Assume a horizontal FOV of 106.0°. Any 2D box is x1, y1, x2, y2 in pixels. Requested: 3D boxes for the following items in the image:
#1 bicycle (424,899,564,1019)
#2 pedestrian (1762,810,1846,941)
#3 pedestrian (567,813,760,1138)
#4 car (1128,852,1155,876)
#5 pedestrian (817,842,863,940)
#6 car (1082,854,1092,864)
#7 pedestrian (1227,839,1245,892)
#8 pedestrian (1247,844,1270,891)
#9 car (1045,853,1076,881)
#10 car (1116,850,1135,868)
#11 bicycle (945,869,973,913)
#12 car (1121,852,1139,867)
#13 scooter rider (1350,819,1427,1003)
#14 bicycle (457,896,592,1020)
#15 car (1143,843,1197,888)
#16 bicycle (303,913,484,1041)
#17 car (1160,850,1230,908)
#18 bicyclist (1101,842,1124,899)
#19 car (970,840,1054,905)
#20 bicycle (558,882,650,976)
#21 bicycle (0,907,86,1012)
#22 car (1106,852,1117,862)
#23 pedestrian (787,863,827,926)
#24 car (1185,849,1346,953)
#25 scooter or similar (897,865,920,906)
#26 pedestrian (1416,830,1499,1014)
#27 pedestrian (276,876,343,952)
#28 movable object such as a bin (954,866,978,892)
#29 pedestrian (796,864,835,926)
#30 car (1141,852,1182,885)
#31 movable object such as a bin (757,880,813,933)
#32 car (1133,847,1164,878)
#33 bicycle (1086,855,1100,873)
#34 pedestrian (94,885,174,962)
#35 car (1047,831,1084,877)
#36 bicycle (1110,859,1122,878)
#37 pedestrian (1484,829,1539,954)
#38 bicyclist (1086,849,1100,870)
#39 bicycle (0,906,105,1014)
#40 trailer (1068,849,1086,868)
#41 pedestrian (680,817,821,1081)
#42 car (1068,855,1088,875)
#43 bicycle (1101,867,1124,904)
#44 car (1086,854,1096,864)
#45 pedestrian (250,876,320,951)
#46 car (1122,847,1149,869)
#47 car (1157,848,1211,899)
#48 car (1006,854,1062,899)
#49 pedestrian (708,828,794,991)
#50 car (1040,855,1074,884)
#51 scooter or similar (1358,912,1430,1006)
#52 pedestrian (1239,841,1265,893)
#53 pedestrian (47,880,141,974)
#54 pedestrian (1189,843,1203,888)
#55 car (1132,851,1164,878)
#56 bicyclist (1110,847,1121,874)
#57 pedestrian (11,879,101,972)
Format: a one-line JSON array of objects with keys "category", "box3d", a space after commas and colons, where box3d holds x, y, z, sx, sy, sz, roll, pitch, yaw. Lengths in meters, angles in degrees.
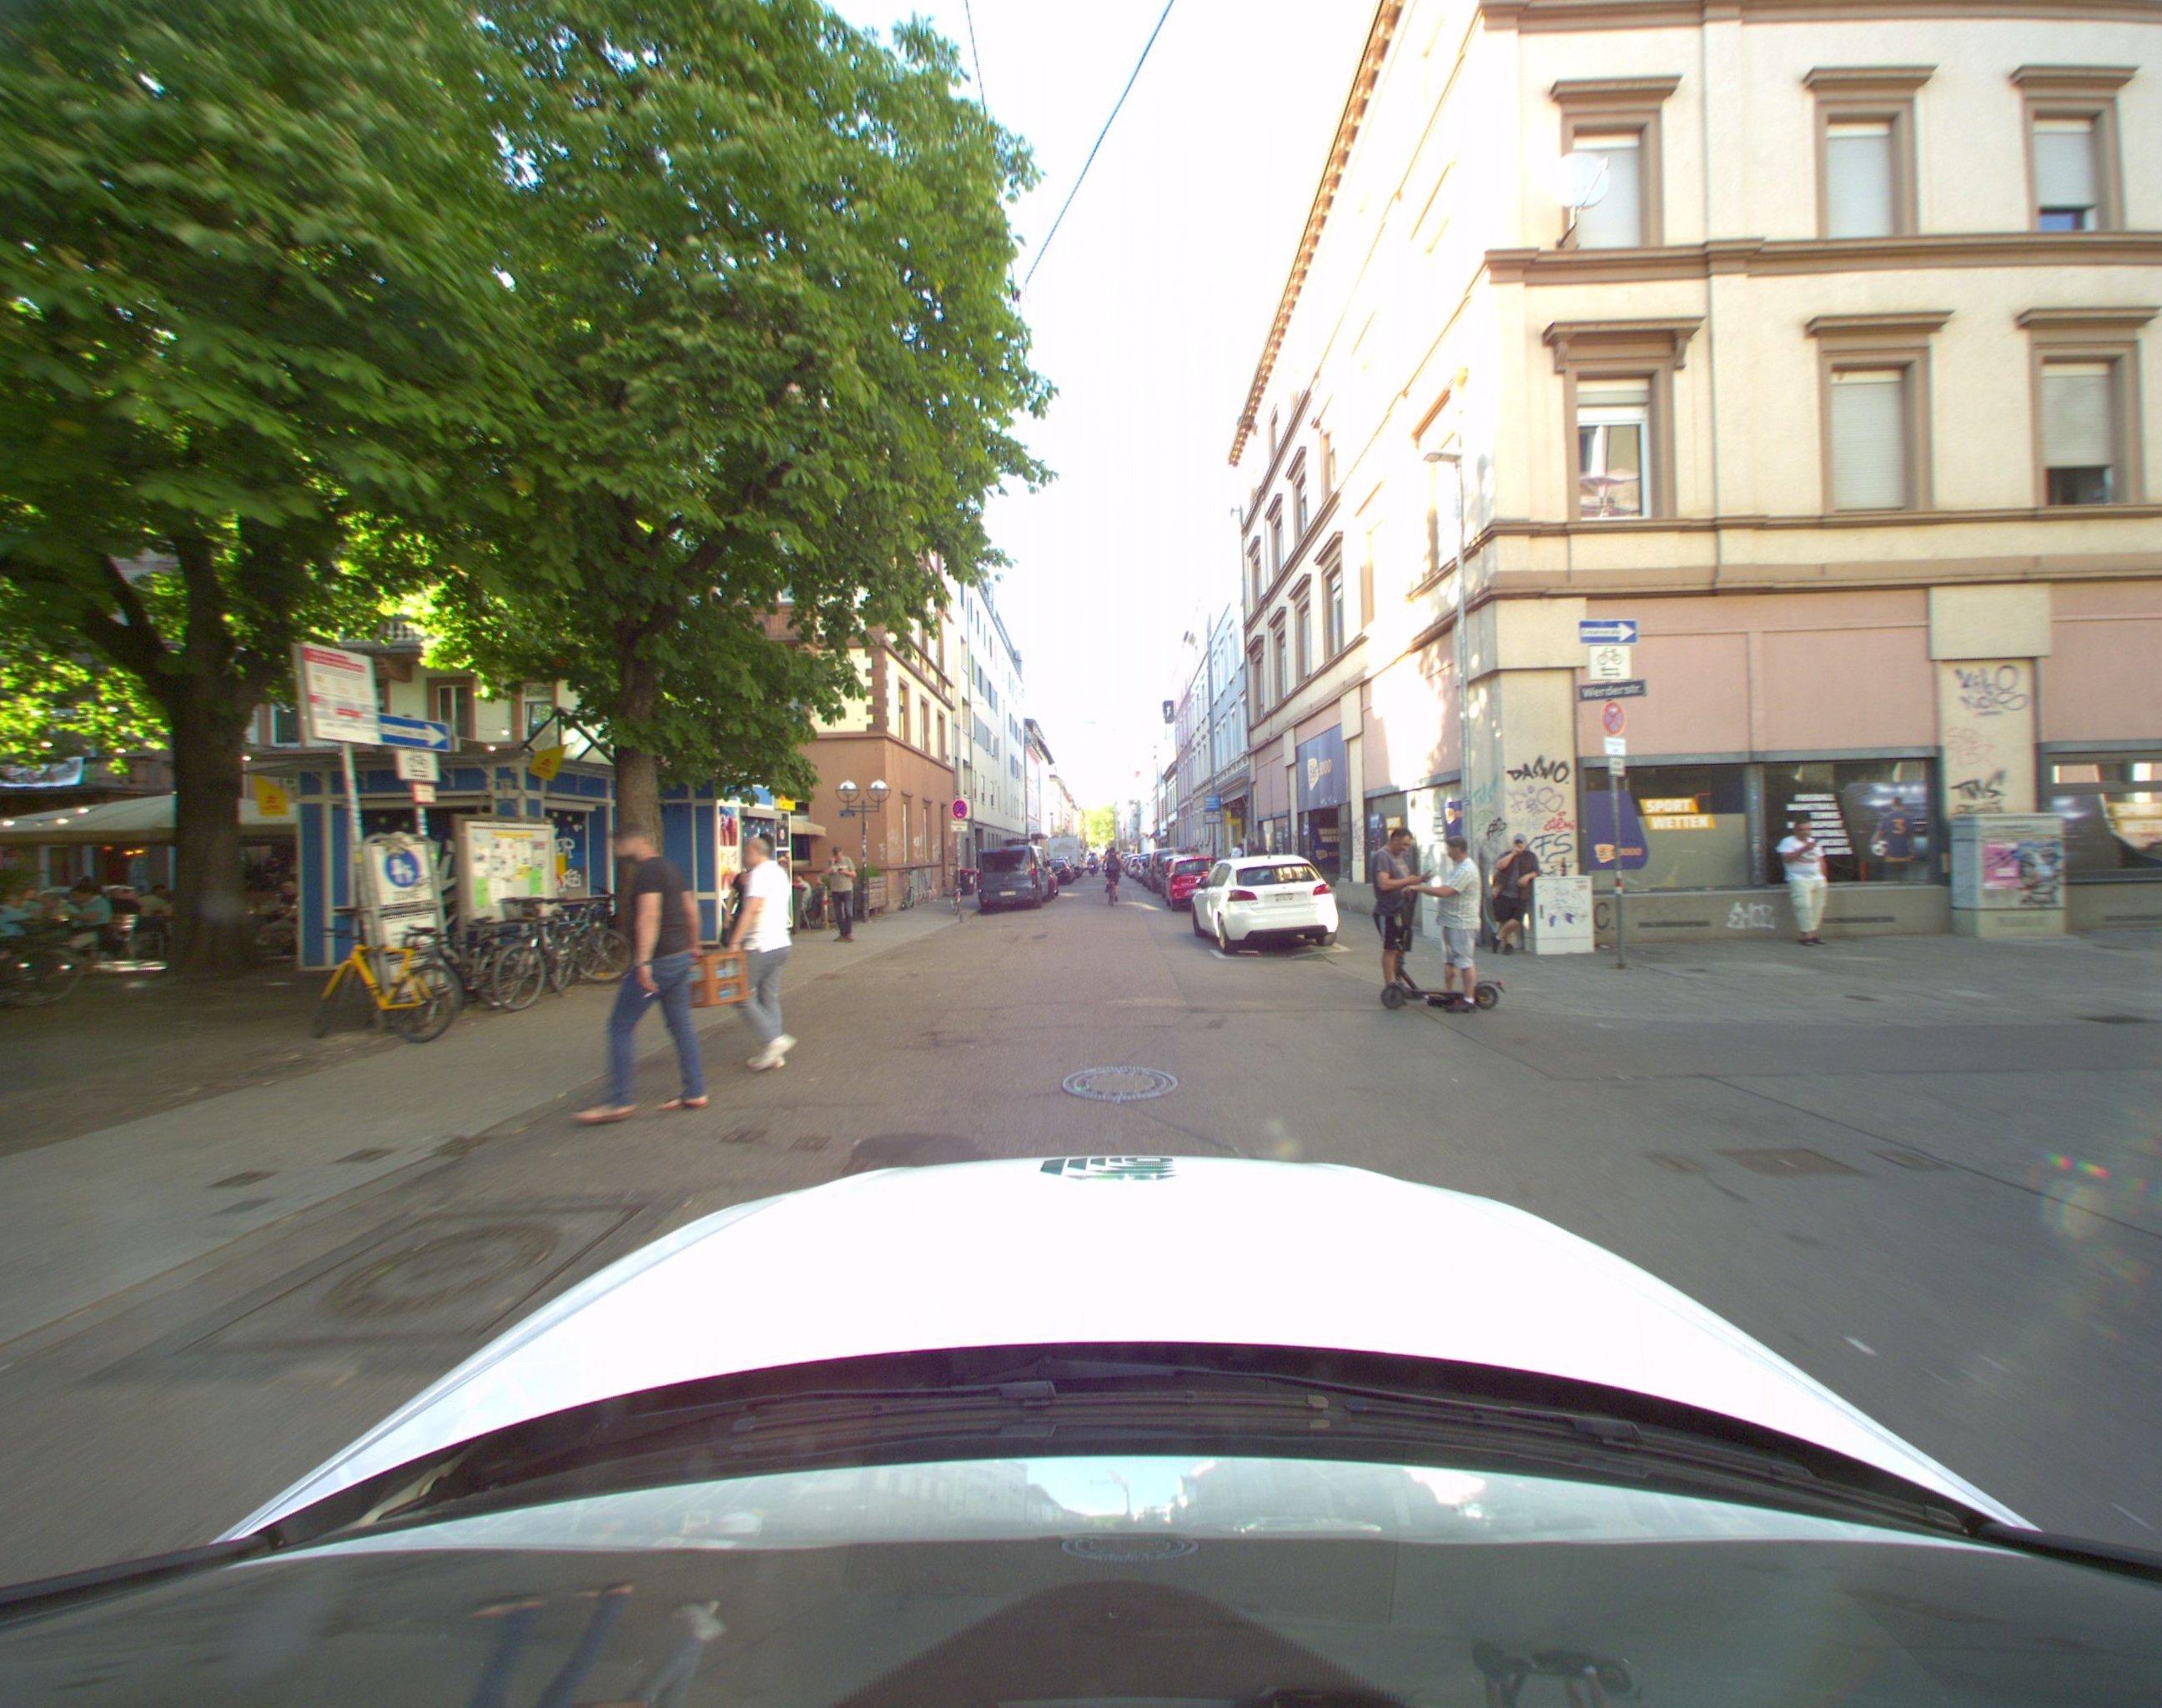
[{"category": "bicycle", "box3d": [-6.149, 1.054, 8.627, 0.291, 1.046, 1.579, -1, 1, 2]}, {"category": "pedestrian", "box3d": [9.764, 0.286, 11.015, 0.688, 1.726, 0.475, -1, -1, 0]}, {"category": "pedestrian", "box3d": [-2.559, 0.687, 5.105, 0.691, 1.825, 1.003, -1, -1, 0]}, {"category": "car", "box3d": [4.338, 0.721, 58.896, 1.680, 1.543, 4.046, -4, -1, 1]}, {"category": "pedestrian", "box3d": [-4.595, 0.690, 15.559, 0.644, 1.834, 0.697, 0, -1, 1]}, {"category": "car", "box3d": [1.125, 0.934, 147.283, 1.744, 1.683, 3.796, -3, -1, 1]}, {"category": "pedestrian", "box3d": [5.143, 0.386, 27.077, 0.558, 1.740, 0.428, -1, -1, 7]}, {"category": "pedestrian", "box3d": [5.869, 0.432, 26.960, 0.586, 1.529, 0.658, -1, -1, -4]}, {"category": "car", "box3d": [-1.311, 0.818, 53.485, 1.711, 1.650, 4.246, -4, 1, 1]}, {"category": "car", "box3d": [4.952, 0.549, 90.477, 1.745, 1.879, 3.970, -3, -1, -1]}, {"category": "bicycle", "box3d": [-3.549, 1.047, 23.551, 0.551, 1.216, 1.977, 0, -1, -16]}, {"category": "car", "box3d": [5.148, 0.557, 85.410, 1.743, 1.487, 3.802, -3, -1, 3]}, {"category": "scooter rider", "box3d": [3.129, 0.553, 8.273, 0.558, 1.778, 0.615, -1, -1, 36]}, {"category": "bicycle", "box3d": [-5.818, 1.043, 8.613, 0.291, 1.082, 1.579, -1, 1, 2]}, {"category": "car", "box3d": [3.713, 0.488, 34.631, 1.892, 1.793, 4.315, -1, -1, 1]}, {"category": "bicycle", "box3d": [-6.219, 1.084, 7.369, 1.563, 1.082, 0.348, -1, -1, 11]}, {"category": "car", "box3d": [3.279, 0.708, 23.977, 1.601, 1.572, 3.554, -1, -1, 1]}, {"category": "bicyclist", "box3d": [0.943, 0.502, 24.960, 0.665, 1.677, 1.097, -1, -1, 1]}, {"category": "car", "box3d": [-2.108, 0.540, 26.470, 2.012, 1.879, 5.300, -1, 0, 3]}, {"category": "bicycle", "box3d": [-6.679, 0.997, 11.495, 0.497, 1.131, 2.029, 0, 0, -12]}, {"category": "bicycle", "box3d": [-12.065, 1.210, 8.776, 0.227, 1.091, 1.938, -1, 2, 1]}, {"category": "car", "box3d": [4.701, 0.479, 124.141, 1.605, 1.560, 3.611, -1, -1, 1]}, {"category": "pedestrian", "box3d": [-6.376, 0.928, 18.989, 0.703, 1.445, 0.617, -1, -1, 0]}, {"category": "car", "box3d": [2.993, 0.709, 14.099, 1.782, 1.516, 4.135, -1, -1, -1]}, {"category": "scooter or similar", "box3d": [-5.247, 0.943, 24.823, 0.346, 1.216, 1.392, -1, -1, 1]}, {"category": "pedestrian", "box3d": [3.544, 0.612, 7.670, 0.568, 1.638, 0.522, 0, -1, -45]}, {"category": "pedestrian", "box3d": [-13.831, 1.065, 14.616, 0.595, 1.321, 0.635, -1, -1, 7]}, {"category": "movable object such as a bin", "box3d": [-4.720, 1.032, 33.449, 0.752, 1.067, 0.655, -1, -1, 21]}, {"category": "pedestrian", "box3d": [-6.384, 0.973, 19.598, 0.703, 1.445, 0.617, -1, -1, 0]}, {"category": "car", "box3d": [3.885, 0.698, 39.717, 1.548, 1.511, 3.610, -1, -1, -1]}, {"category": "movable object such as a bin", "box3d": [-6.273, 1.103, 17.284, 0.866, 1.086, 0.774, -1, -1, 2]}, {"category": "car", "box3d": [3.947, 0.495, 48.002, 1.551, 1.712, 3.559, -1, -1, 1]}, {"category": "bicycle", "box3d": [0.988, 0.795, 65.719, 0.973, 1.314, 2.557, -3, 0, 3]}, {"category": "pedestrian", "box3d": [-16.322, 1.181, 14.047, 0.562, 1.268, 0.678, -1, -1, 0]}, {"category": "car", "box3d": [-1.162, 0.042, 64.356, 2.335, 3.291, 7.157, -4, -1, 2]}, {"category": "bicycle", "box3d": [2.075, 0.846, 48.894, 0.646, 1.129, 2.136, -1, -1, 1]}, {"category": "pedestrian", "box3d": [5.880, 0.492, 11.124, 0.593, 1.650, 0.468, -1, 2, 32]}, {"category": "bicyclist", "box3d": [0.976, 0.410, 65.751, 0.946, 1.628, 0.954, -4, 0, 3]}, {"category": "bicycle", "box3d": [-11.816, 1.190, 8.771, 0.227, 1.091, 1.938, -1, 1, 1]}, {"category": "trailer", "box3d": [-0.447, 0.496, 93.876, 1.875, 2.092, 3.738, -3, -1, 1]}, {"category": "pedestrian", "box3d": [-2.425, 0.663, 6.048, 0.759, 1.835, 0.688, -1, -1, -1]}, {"category": "car", "box3d": [-0.297, 1.063, 78.862, 1.746, 1.816, 4.078, -4, -1, 1]}, {"category": "bicycle", "box3d": [0.948, 0.951, 24.983, 0.674, 1.074, 1.942, -1, -1, 1]}, {"category": "car", "box3d": [2.021, 1.038, 165.071, 1.744, 1.821, 3.796, -3, -1, 1]}, {"category": "pedestrian", "box3d": [-14.484, 1.075, 14.828, 0.693, 1.321, 0.614, -1, -1, 9]}, {"category": "car", "box3d": [4.412, 0.331, 66.538, 1.911, 1.706, 4.367, -1, 0, 1]}, {"category": "car", "box3d": [3.569, 0.656, 28.737, 1.563, 1.556, 3.317, -5, -1, 3]}, {"category": "car", "box3d": [-1.769, 0.844, 31.643, 1.744, 1.522, 3.870, -5, -1, 1]}, {"category": "pedestrian", "box3d": [-3.937, 0.641, 9.764, 0.714, 1.873, 0.720, -1, -1, 1]}, {"category": "car", "box3d": [-1.359, 0.869, 47.878, 1.711, 1.478, 4.500, -4, 1, 1]}, {"category": "scooter or similar", "box3d": [3.134, 1.034, 8.213, 0.392, 0.828, 0.926, -1, -1, 2]}, {"category": "pedestrian", "box3d": [5.814, 0.437, 27.672, 0.629, 1.740, 0.656, 0, -1, -12]}, {"category": "pedestrian", "box3d": [-14.368, 1.043, 11.870, 0.566, 1.321, 0.634, -1, -1, 0]}, {"category": "pedestrian", "box3d": [4.458, 0.447, 31.576, 0.439, 1.704, 0.655, -1, -1, 2]}, {"category": "car", "box3d": [4.311, 0.668, 52.805, 1.691, 1.543, 4.629, -4, -1, 1]}, {"category": "bicyclist", "box3d": [2.072, 0.400, 48.878, 0.668, 1.567, 0.716, -1, -1, 0]}, {"category": "pedestrian", "box3d": [-14.945, 1.030, 11.884, 0.542, 1.305, 0.597, -1, -1, 0]}]
